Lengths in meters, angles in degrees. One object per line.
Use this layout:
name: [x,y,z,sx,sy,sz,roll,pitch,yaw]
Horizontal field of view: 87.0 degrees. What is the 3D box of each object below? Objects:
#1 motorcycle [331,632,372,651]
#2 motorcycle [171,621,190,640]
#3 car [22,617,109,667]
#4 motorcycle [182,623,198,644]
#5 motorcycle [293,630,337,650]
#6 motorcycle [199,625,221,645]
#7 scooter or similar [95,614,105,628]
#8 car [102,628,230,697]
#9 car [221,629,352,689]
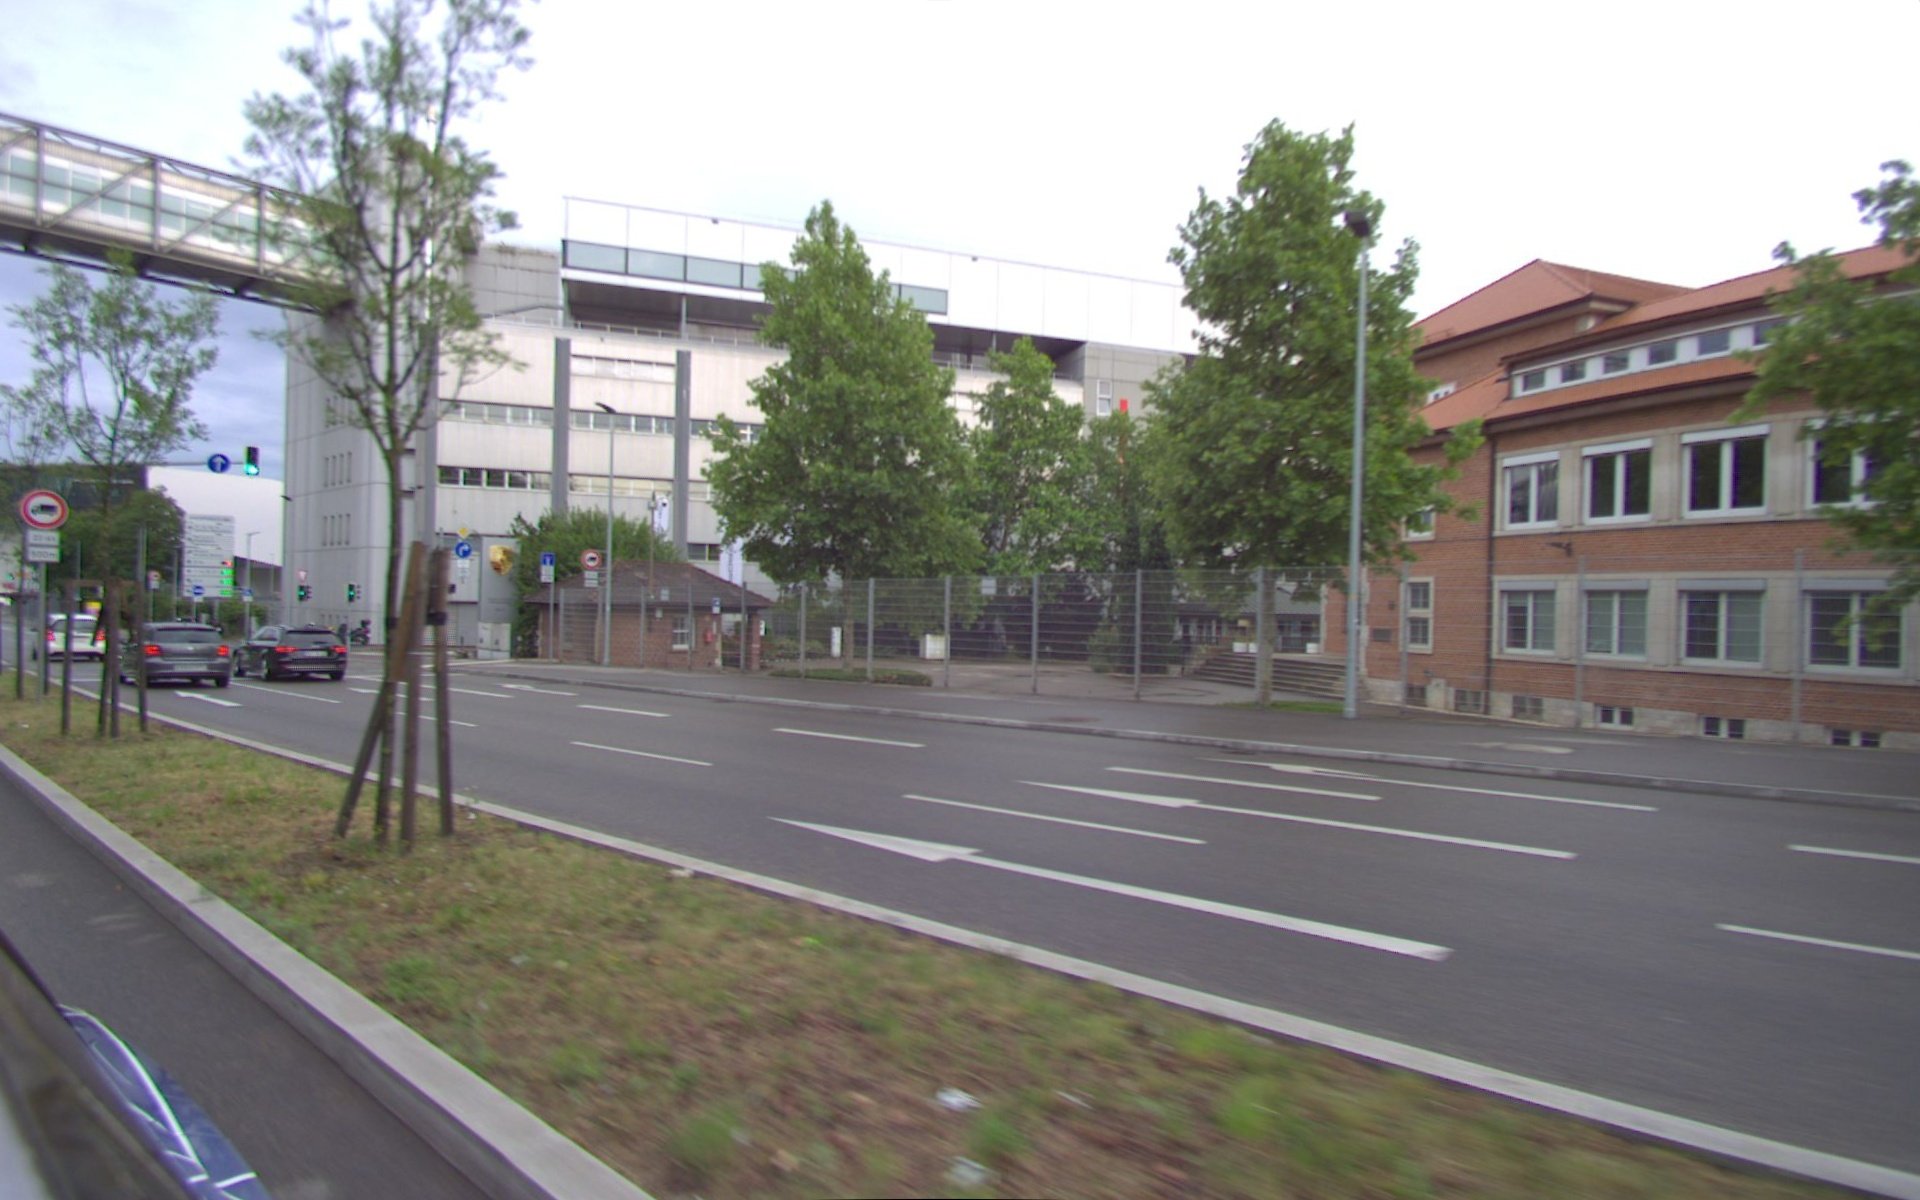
motorcycle: [-33.751,2.296,56.135,2.150,1.035,0.624,1,-2,15]
motorcycle: [-51.686,1.987,67.094,1.967,1.224,0.618,-1,-3,42]
car: [-30.989,1.415,35.022,4.485,1.602,1.752,-1,-3,43]
motorcycle: [-49.728,2.150,65.319,0.617,1.277,2.173,0,-1,-43]
motorcycle: [-36.030,2.228,56.549,2.144,1.035,0.625,1,-2,7]
motorcycle: [-45.883,2.142,61.911,2.037,1.171,0.561,0,-2,40]
scooter or similar: [-71.050,1.766,83.587,1.568,1.138,0.389,-1,-3,42]
car: [-18.225,1.375,23.181,4.110,1.414,1.561,-1,-3,42]
car: [-17.925,1.507,26.859,4.613,1.414,1.754,-1,-3,42]
